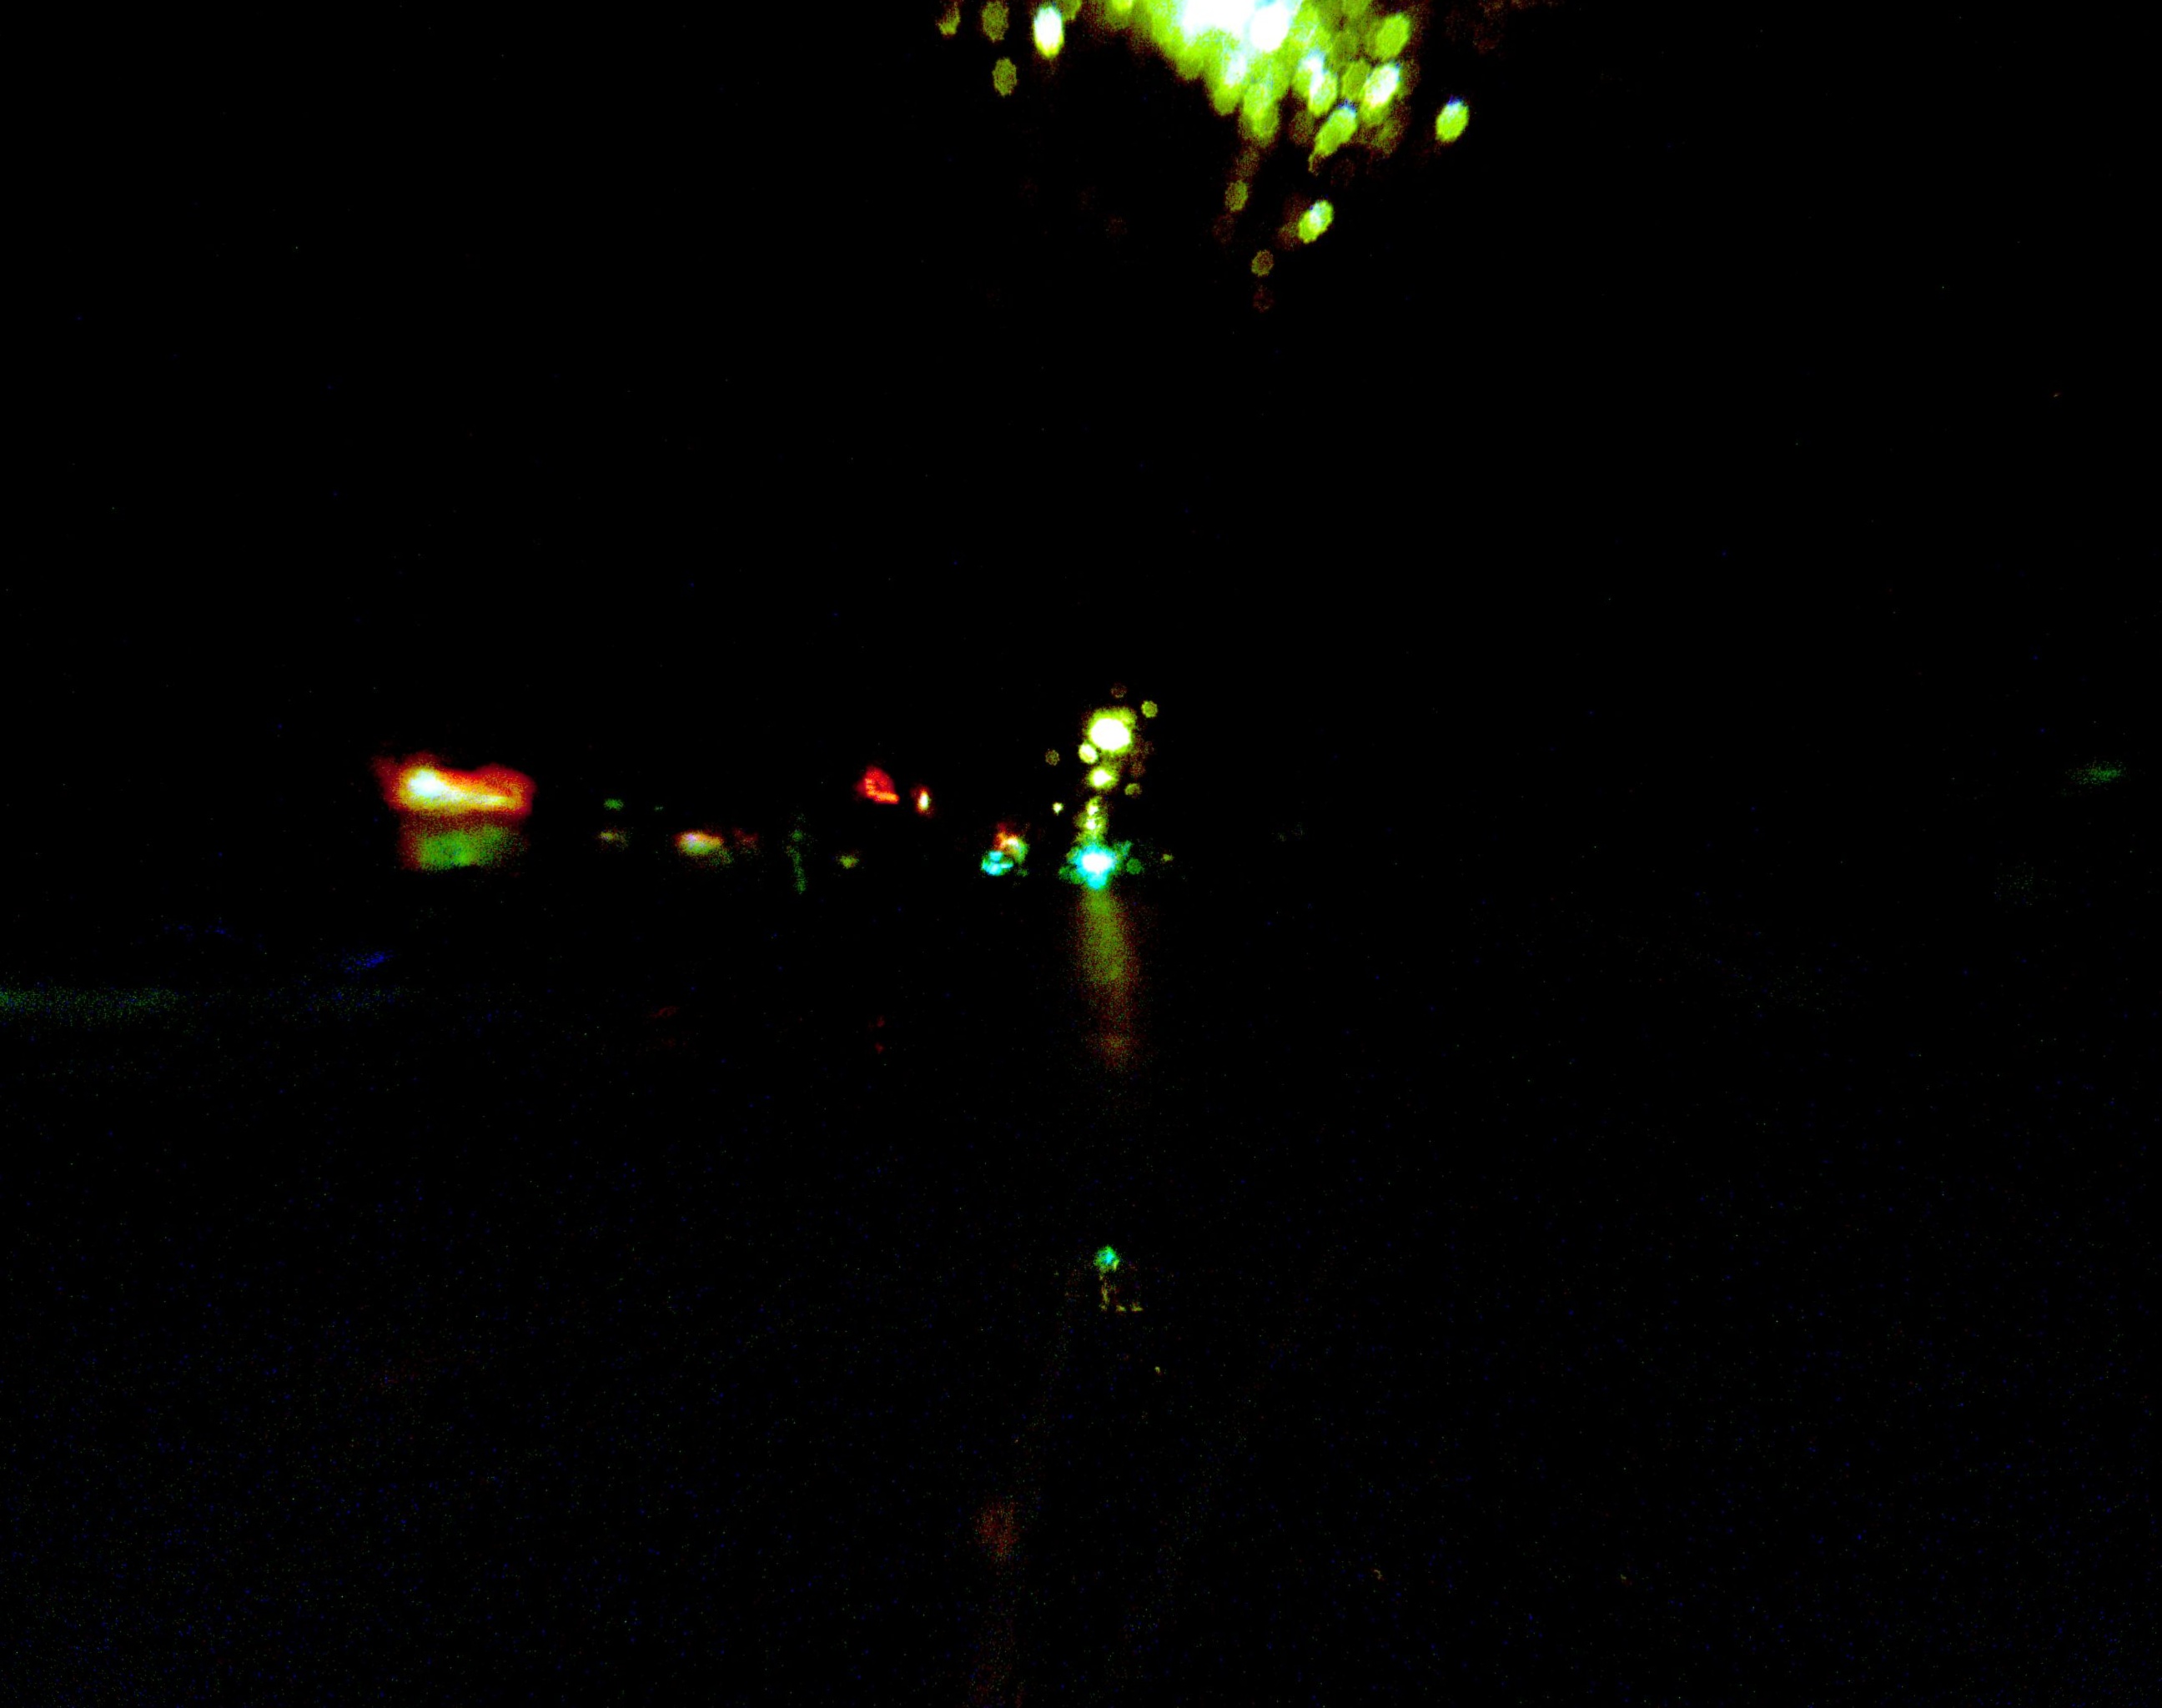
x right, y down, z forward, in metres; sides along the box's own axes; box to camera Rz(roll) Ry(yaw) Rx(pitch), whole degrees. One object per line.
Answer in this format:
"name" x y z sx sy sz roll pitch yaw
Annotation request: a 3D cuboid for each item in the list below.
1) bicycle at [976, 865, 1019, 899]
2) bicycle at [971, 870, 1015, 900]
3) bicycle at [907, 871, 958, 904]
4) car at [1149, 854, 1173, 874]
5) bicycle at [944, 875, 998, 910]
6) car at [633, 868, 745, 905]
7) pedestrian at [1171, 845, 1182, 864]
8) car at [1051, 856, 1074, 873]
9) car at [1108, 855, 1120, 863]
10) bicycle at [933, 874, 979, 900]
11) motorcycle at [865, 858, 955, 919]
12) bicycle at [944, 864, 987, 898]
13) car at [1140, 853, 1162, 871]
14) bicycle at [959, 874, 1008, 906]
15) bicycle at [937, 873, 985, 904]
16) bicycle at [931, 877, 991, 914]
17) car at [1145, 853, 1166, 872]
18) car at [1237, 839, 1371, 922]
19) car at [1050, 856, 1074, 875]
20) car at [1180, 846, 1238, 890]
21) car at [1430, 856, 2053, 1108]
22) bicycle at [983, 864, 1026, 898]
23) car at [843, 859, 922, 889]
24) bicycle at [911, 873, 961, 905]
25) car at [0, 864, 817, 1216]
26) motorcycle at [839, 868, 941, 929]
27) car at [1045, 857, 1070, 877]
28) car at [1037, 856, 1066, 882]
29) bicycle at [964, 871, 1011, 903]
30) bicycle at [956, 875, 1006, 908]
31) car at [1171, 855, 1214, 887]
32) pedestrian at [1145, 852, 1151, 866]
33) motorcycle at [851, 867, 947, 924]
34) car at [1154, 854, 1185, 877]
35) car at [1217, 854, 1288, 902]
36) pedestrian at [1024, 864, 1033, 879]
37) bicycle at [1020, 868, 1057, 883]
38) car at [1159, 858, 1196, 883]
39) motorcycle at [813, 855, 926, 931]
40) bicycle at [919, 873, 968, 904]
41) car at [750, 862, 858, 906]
"bicycle" -3.241 1.087 29.489 1.532 1.195 0.366 4 2 -1
"bicycle" -3.274 1.157 28.359 1.532 1.018 0.366 4 1 -1
"bicycle" -4.814 1.096 24.665 1.533 0.947 0.366 4 1 -3
"car" 6.077 0.745 58.290 1.531 1.445 3.384 -2 0 1
"bicycle" -3.387 1.170 23.416 1.531 0.947 0.366 4 2 8
"car" -18.037 1.490 35.061 4.155 1.425 1.843 -3 0 2
"pedestrian" 9.263 0.070 73.778 0.912 1.778 0.629 -4 1 2
"car" -1.647 0.909 68.818 1.846 1.498 4.162 -1 0 1
"car" 5.791 0.851 134.134 1.877 1.386 4.075 -2 -1 4
"bicycle" -4.523 1.185 27.523 1.532 0.829 0.325 4 1 5
"motorcycle" -4.614 0.918 20.643 2.178 1.538 0.867 2 1 0
"bicycle" -4.410 1.030 29.022 1.532 1.195 0.366 4 2 -1
"car" 6.278 0.736 68.502 1.697 1.470 3.964 -2 -1 2
"bicycle" -3.241 1.200 25.215 1.533 0.947 0.366 4 1 -3
"bicycle" -4.204 1.197 26.618 1.532 0.947 0.366 4 1 5
"bicycle" -3.589 1.224 22.718 1.672 0.947 0.366 4 2 8
"car" 6.296 0.735 64.471 1.696 1.470 3.385 -2 -1 5
"car" 5.542 0.598 19.669 2.001 1.818 5.207 -2 0 1
"car" -1.543 0.946 62.911 1.846 1.498 4.162 -1 0 1
"car" 5.731 0.596 34.648 1.907 1.818 4.829 -2 0 1
"car" 5.298 0.826 7.224 1.771 1.474 4.772 -5 0 2
"bicycle" -3.010 1.068 29.936 1.532 1.195 0.366 4 2 3
"car" -11.462 1.132 43.992 3.996 1.476 1.895 -3 0 2
"bicycle" -4.838 1.166 25.372 1.533 0.947 0.366 4 1 -4
"car" -4.174 0.904 4.534 4.523 1.522 1.780 2 0 0
"motorcycle" -4.590 1.056 18.376 2.178 1.311 0.867 2 1 0
"car" -1.753 0.960 57.750 1.689 1.498 4.162 -1 0 1
"car" -1.956 0.980 51.478 1.676 1.712 3.856 -1 0 1
"bicycle" -3.323 1.171 27.053 1.532 1.018 0.366 4 2 5
"bicycle" -3.249 1.206 24.782 1.533 0.947 0.366 4 1 -3
"car" 5.843 0.839 40.112 1.731 1.565 3.720 -2 0 1
"pedestrian" 10.080 0.779 113.945 0.776 2.002 0.587 -4 1 1
"motorcycle" -4.603 1.042 19.308 2.178 1.311 0.867 2 1 0
"car" 6.072 0.767 52.646 1.731 1.445 4.273 -2 0 1
"car" 5.670 0.765 25.534 1.573 1.451 3.720 -2 0 1
"pedestrian" -5.872 1.928 85.062 1.007 1.698 0.614 -1 1 1
"bicycle" -2.611 1.288 46.477 2.267 0.889 0.619 0 1 30
"car" 5.869 1.002 46.709 1.731 1.384 4.555 -2 0 1
"motorcycle" -4.814 0.876 17.432 2.294 1.579 0.867 2 1 0
"bicycle" -4.669 1.176 25.806 1.533 0.947 0.366 4 1 -3
"car" -12.603 1.359 34.781 4.155 1.760 1.843 -3 0 2
